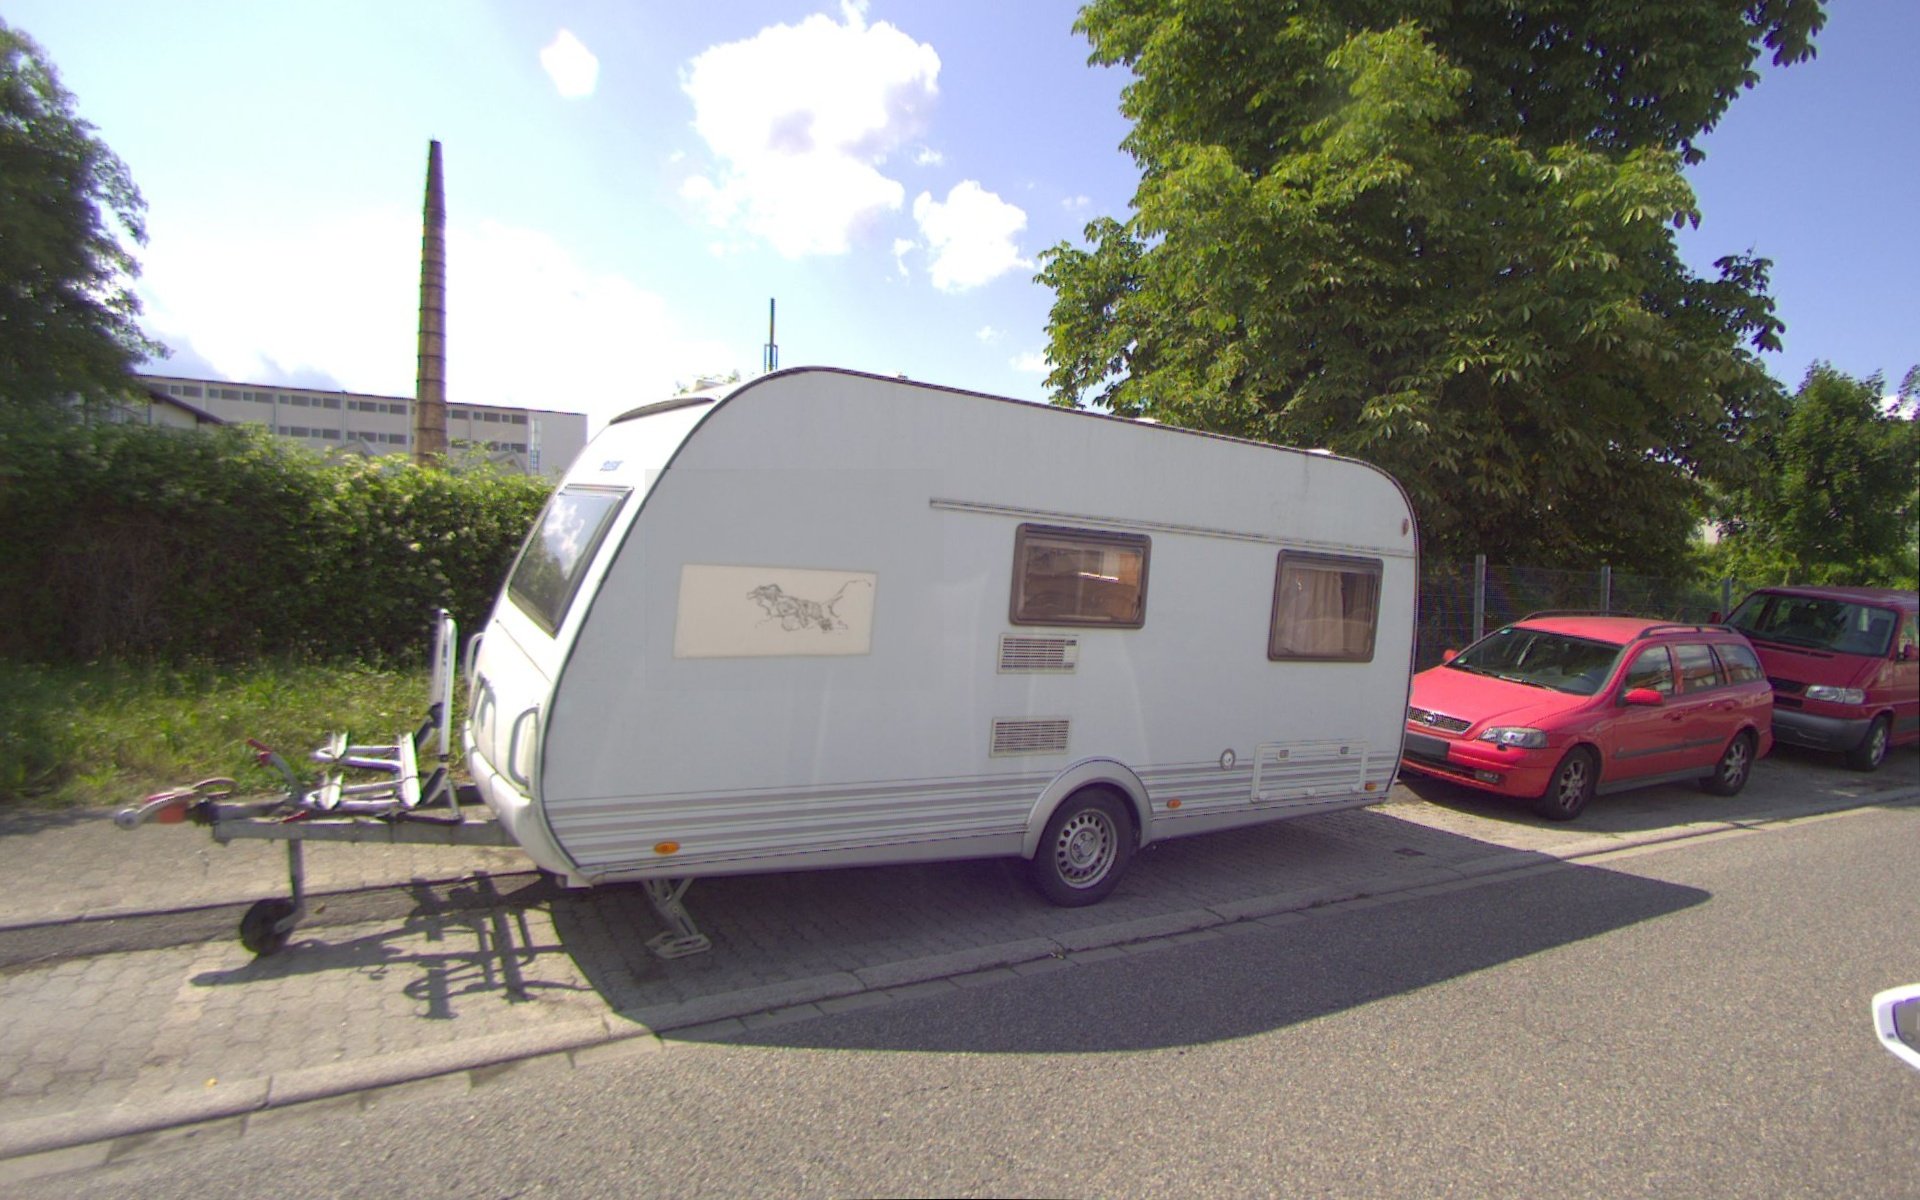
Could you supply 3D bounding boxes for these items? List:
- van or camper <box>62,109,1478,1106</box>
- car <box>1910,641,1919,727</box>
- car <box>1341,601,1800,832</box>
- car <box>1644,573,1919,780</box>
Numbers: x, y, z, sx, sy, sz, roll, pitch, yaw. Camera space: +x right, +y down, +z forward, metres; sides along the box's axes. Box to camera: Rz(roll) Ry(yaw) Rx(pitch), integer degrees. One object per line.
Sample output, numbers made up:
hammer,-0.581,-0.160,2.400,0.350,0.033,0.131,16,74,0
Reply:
van or camper,-0.252,0.039,5.604,6.757,2.841,2.250,1,4,-32
car,16.318,1.076,15.121,3.778,1.826,1.692,1,4,-28
car,5.562,0.890,9.031,4.218,1.553,1.617,1,4,-30
car,10.821,0.828,12.357,4.900,1.981,1.889,2,6,-30
